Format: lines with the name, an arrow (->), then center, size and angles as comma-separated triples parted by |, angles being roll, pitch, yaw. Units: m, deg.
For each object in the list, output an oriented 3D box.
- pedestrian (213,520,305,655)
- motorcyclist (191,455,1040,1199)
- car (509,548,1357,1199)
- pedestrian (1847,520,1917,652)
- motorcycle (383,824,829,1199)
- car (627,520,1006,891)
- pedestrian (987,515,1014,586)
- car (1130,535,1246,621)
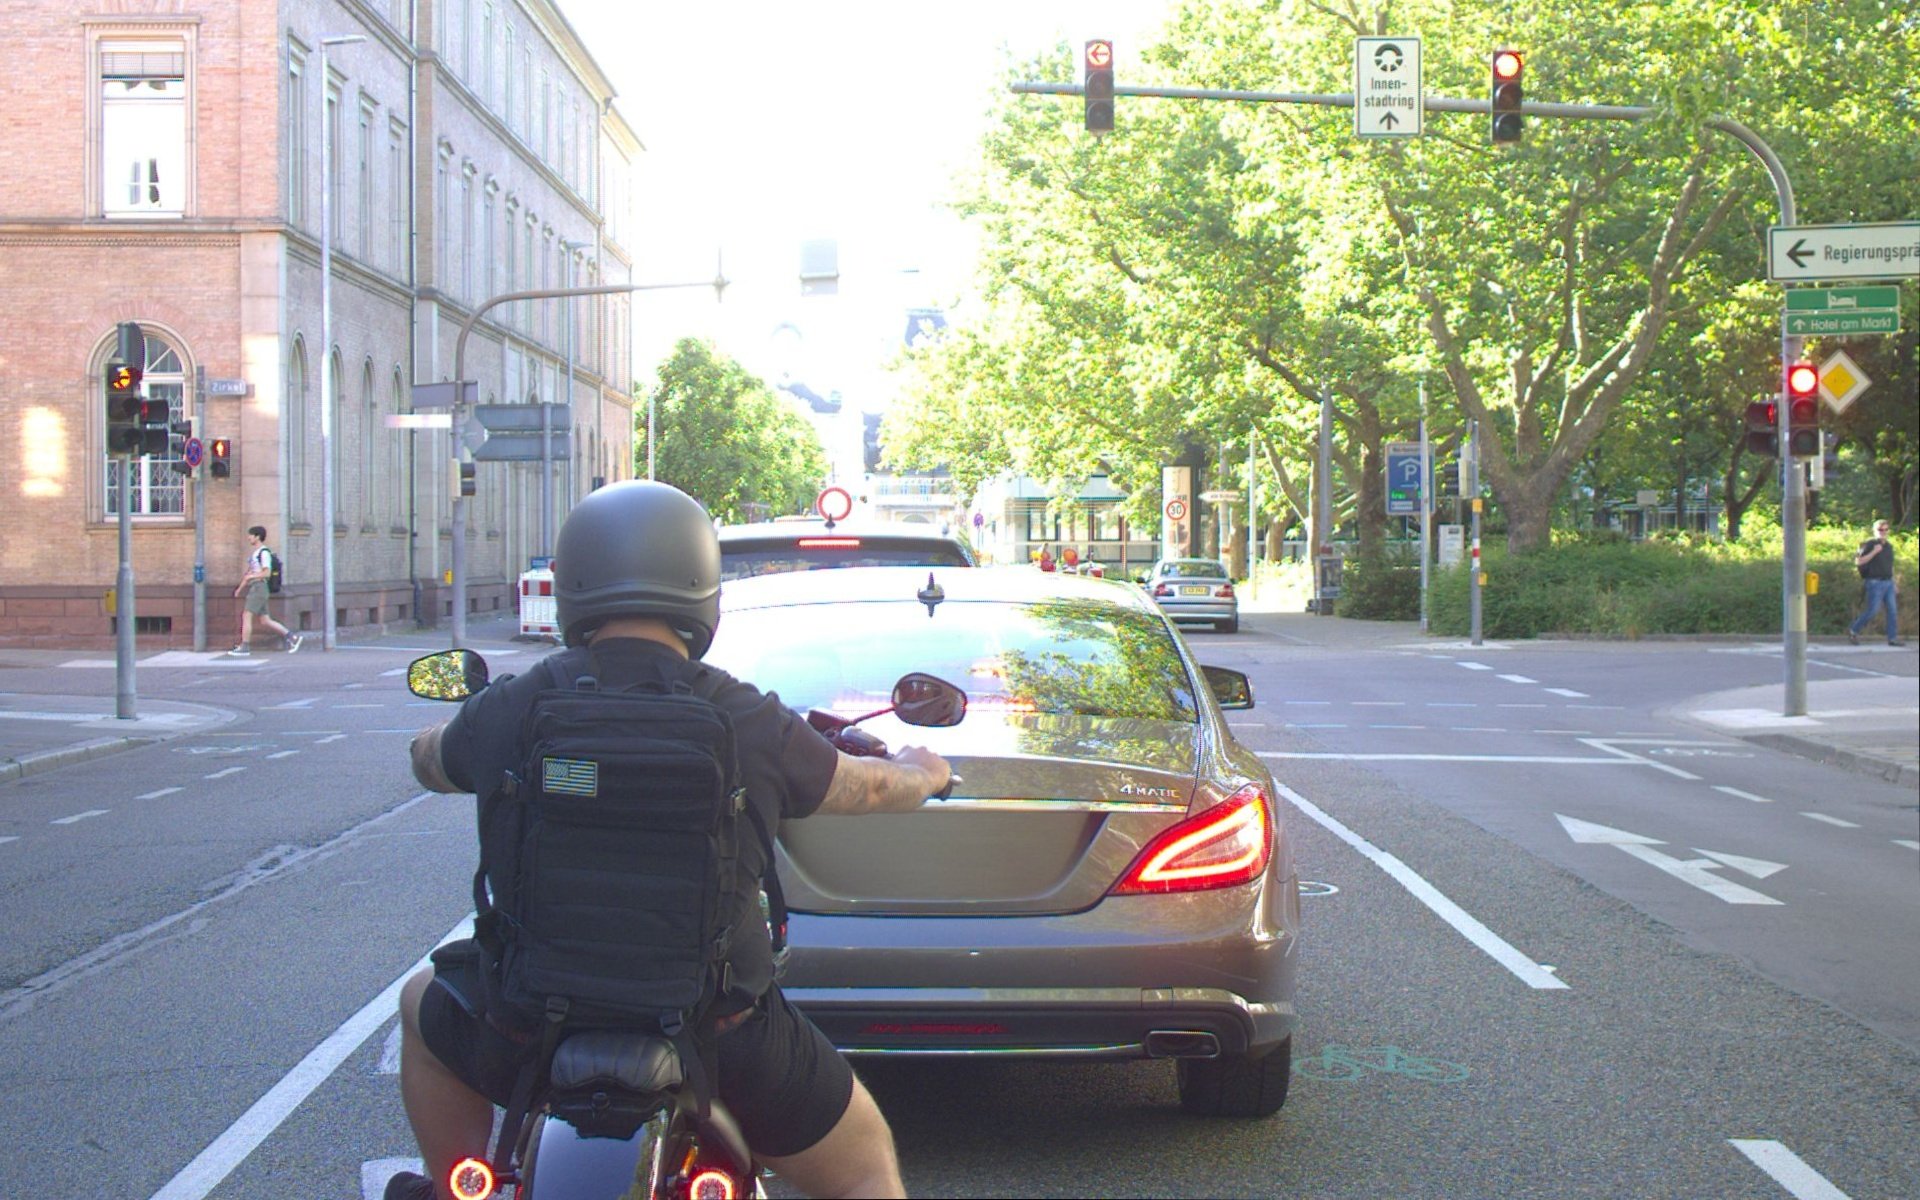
pedestrian -> -9.653, -0.176, 47.341 | 1.001, 1.820, 1.076 | 1, 0, -24
motorcyclist -> -0.483, 0.599, 5.354 | 1.149, 1.593, 1.288 | 1, 0, -1
car -> -0.082, 0.599, 9.624 | 1.882, 1.444, 3.820 | 1, 1, -1
pedestrian -> 13.489, -0.209, 50.329 | 0.923, 1.903, 0.751 | 1, 0, 12
motorcycle -> -0.495, 0.930, 5.406 | 0.513, 0.999, 2.013 | 1, 1, -1
car -> -0.637, 0.415, 16.740 | 1.621, 1.588, 4.000 | 0, 1, -1
pedestrian -> 1.192, -1.451, 100.859 | 0.764, 2.044, 0.712 | 1, 0, -1
car -> 4.319, -0.426, 65.560 | 1.852, 1.569, 4.136 | 1, 1, -1
